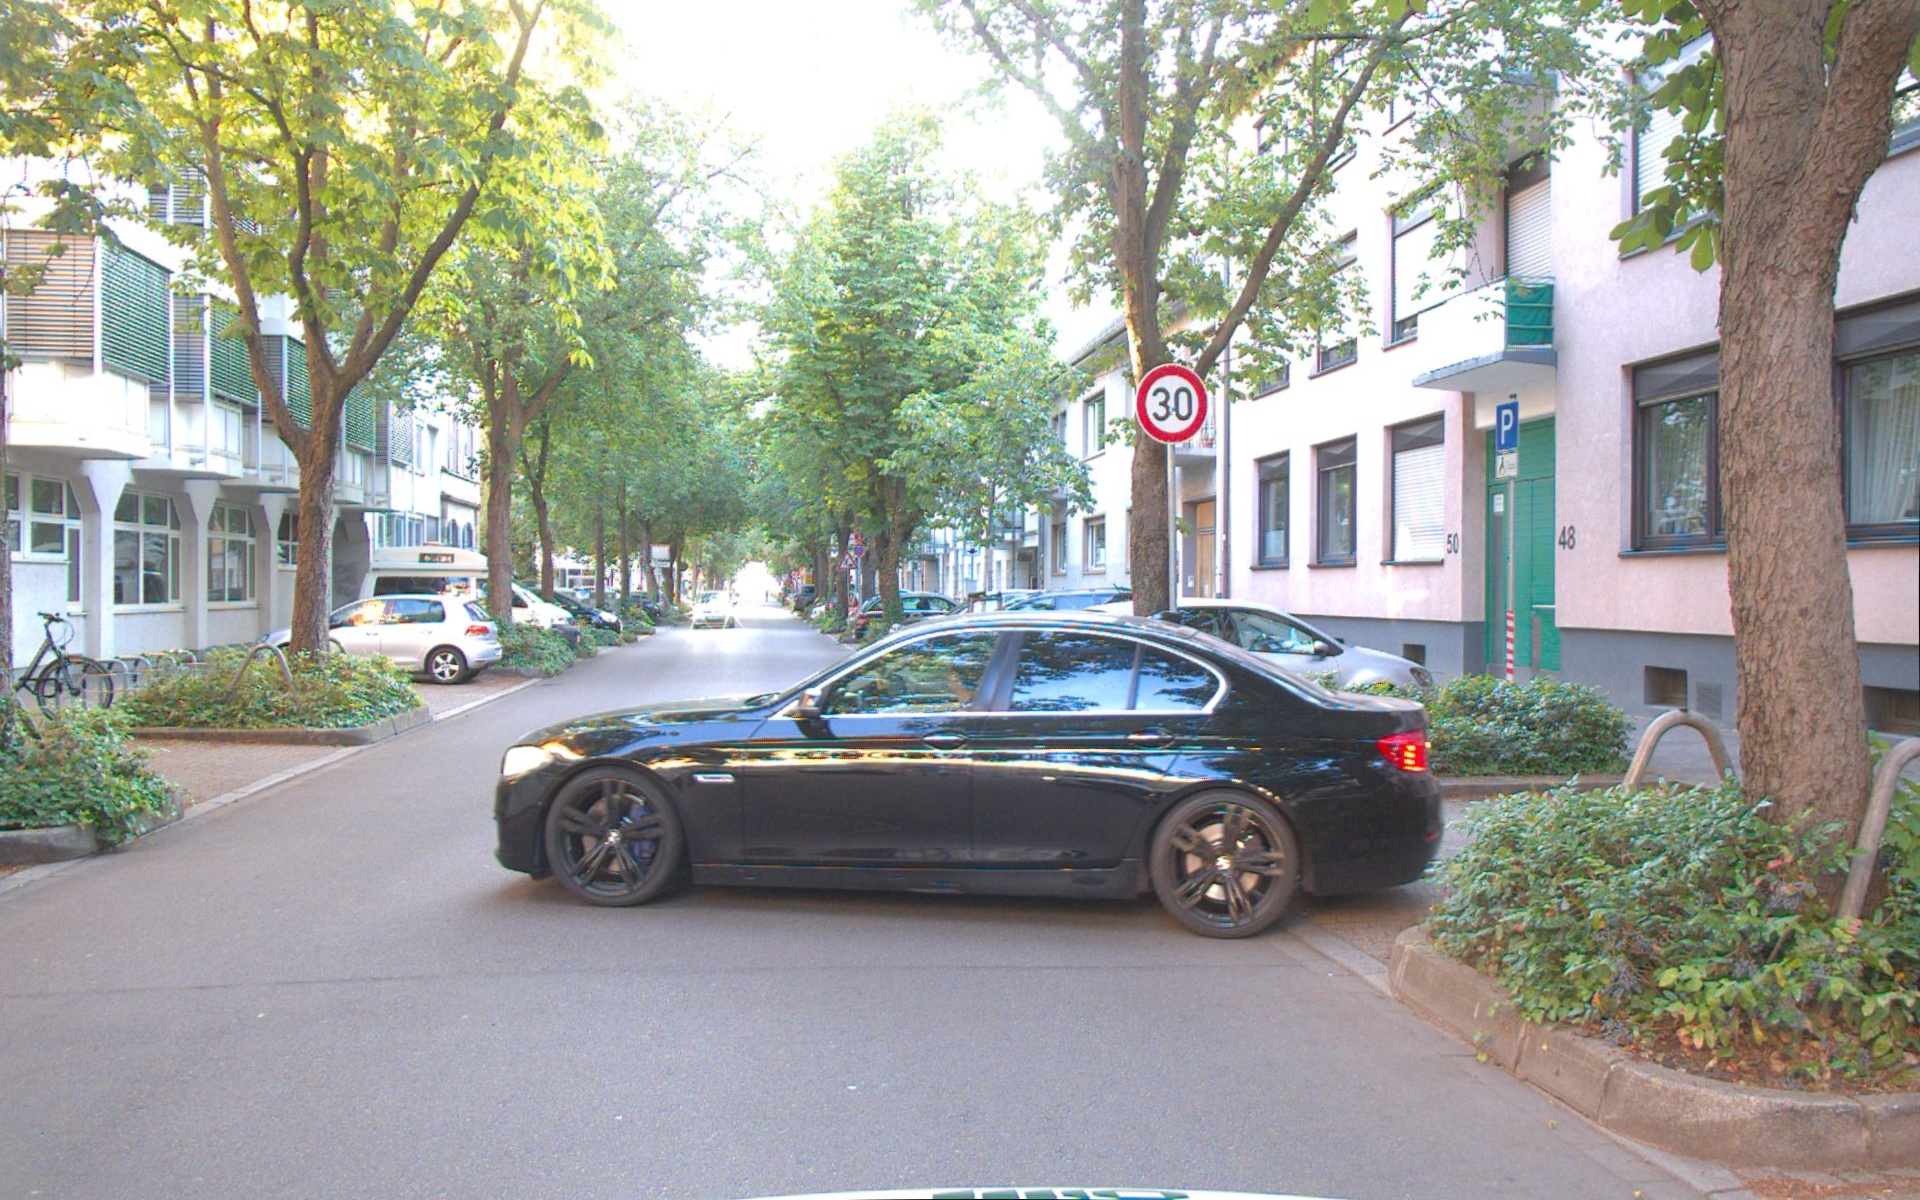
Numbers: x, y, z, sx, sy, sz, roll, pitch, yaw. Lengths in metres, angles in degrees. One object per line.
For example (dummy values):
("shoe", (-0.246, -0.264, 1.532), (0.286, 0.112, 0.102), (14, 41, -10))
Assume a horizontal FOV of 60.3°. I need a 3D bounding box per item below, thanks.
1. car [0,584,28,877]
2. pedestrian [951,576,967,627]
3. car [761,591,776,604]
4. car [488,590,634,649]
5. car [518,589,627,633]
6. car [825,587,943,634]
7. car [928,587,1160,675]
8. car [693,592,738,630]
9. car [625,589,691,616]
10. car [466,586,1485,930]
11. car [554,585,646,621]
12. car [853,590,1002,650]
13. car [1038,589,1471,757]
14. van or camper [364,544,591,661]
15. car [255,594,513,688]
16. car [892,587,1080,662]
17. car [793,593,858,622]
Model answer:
("car", (-7.107, 0.700, 7.866), (4.272, 1.544, 1.782), (0, 0, -7))
("pedestrian", (-0.054, 0.063, 67.116), (0.577, 2.049, 0.669), (0, 0, -6))
("car", (-23.706, -0.286, 204.375), (1.787, 1.557, 3.995), (-1, 0, -6))
("car", (-11.496, 0.549, 47.858), (3.892, 1.647, 1.783), (0, 0, -6))
("car", (-15.017, 0.422, 64.271), (3.891, 1.647, 1.783), (0, 0, -6))
("car", (-2.633, 0.345, 56.777), (3.894, 1.554, 1.782), (0, 0, -9))
("car", (1.465, 0.525, 29.690), (3.894, 1.502, 1.781), (0, 0, -9))
("car", (-10.585, 0.446, 71.819), (1.745, 1.589, 4.162), (0, 0, -6))
("car", (-18.609, 0.136, 102.027), (3.891, 1.647, 1.783), (0, 0, -6))
("car", (0.093, 0.689, 8.399), (4.644, 1.506, 1.801), (0, 0, 7))
("car", (-16.485, 0.133, 75.875), (3.891, 1.647, 1.783), (0, 0, -6))
("car", (-0.913, 0.520, 44.937), (3.893, 1.554, 1.782), (0, 0, -8))
("car", (2.802, 0.657, 16.106), (3.836, 1.502, 1.661), (0, 0, -9))
("van or camper", (-10.677, 0.043, 36.880), (4.575, 2.521, 1.997), (0, 0, -7))
("car", (-9.867, 0.670, 28.578), (3.892, 1.544, 1.783), (0, 0, -6))
("car", (0.539, 0.513, 36.148), (3.893, 1.554, 1.782), (0, 0, -8))
("car", (-8.172, 0.439, 100.643), (3.891, 1.713, 1.783), (0, 0, -6))
